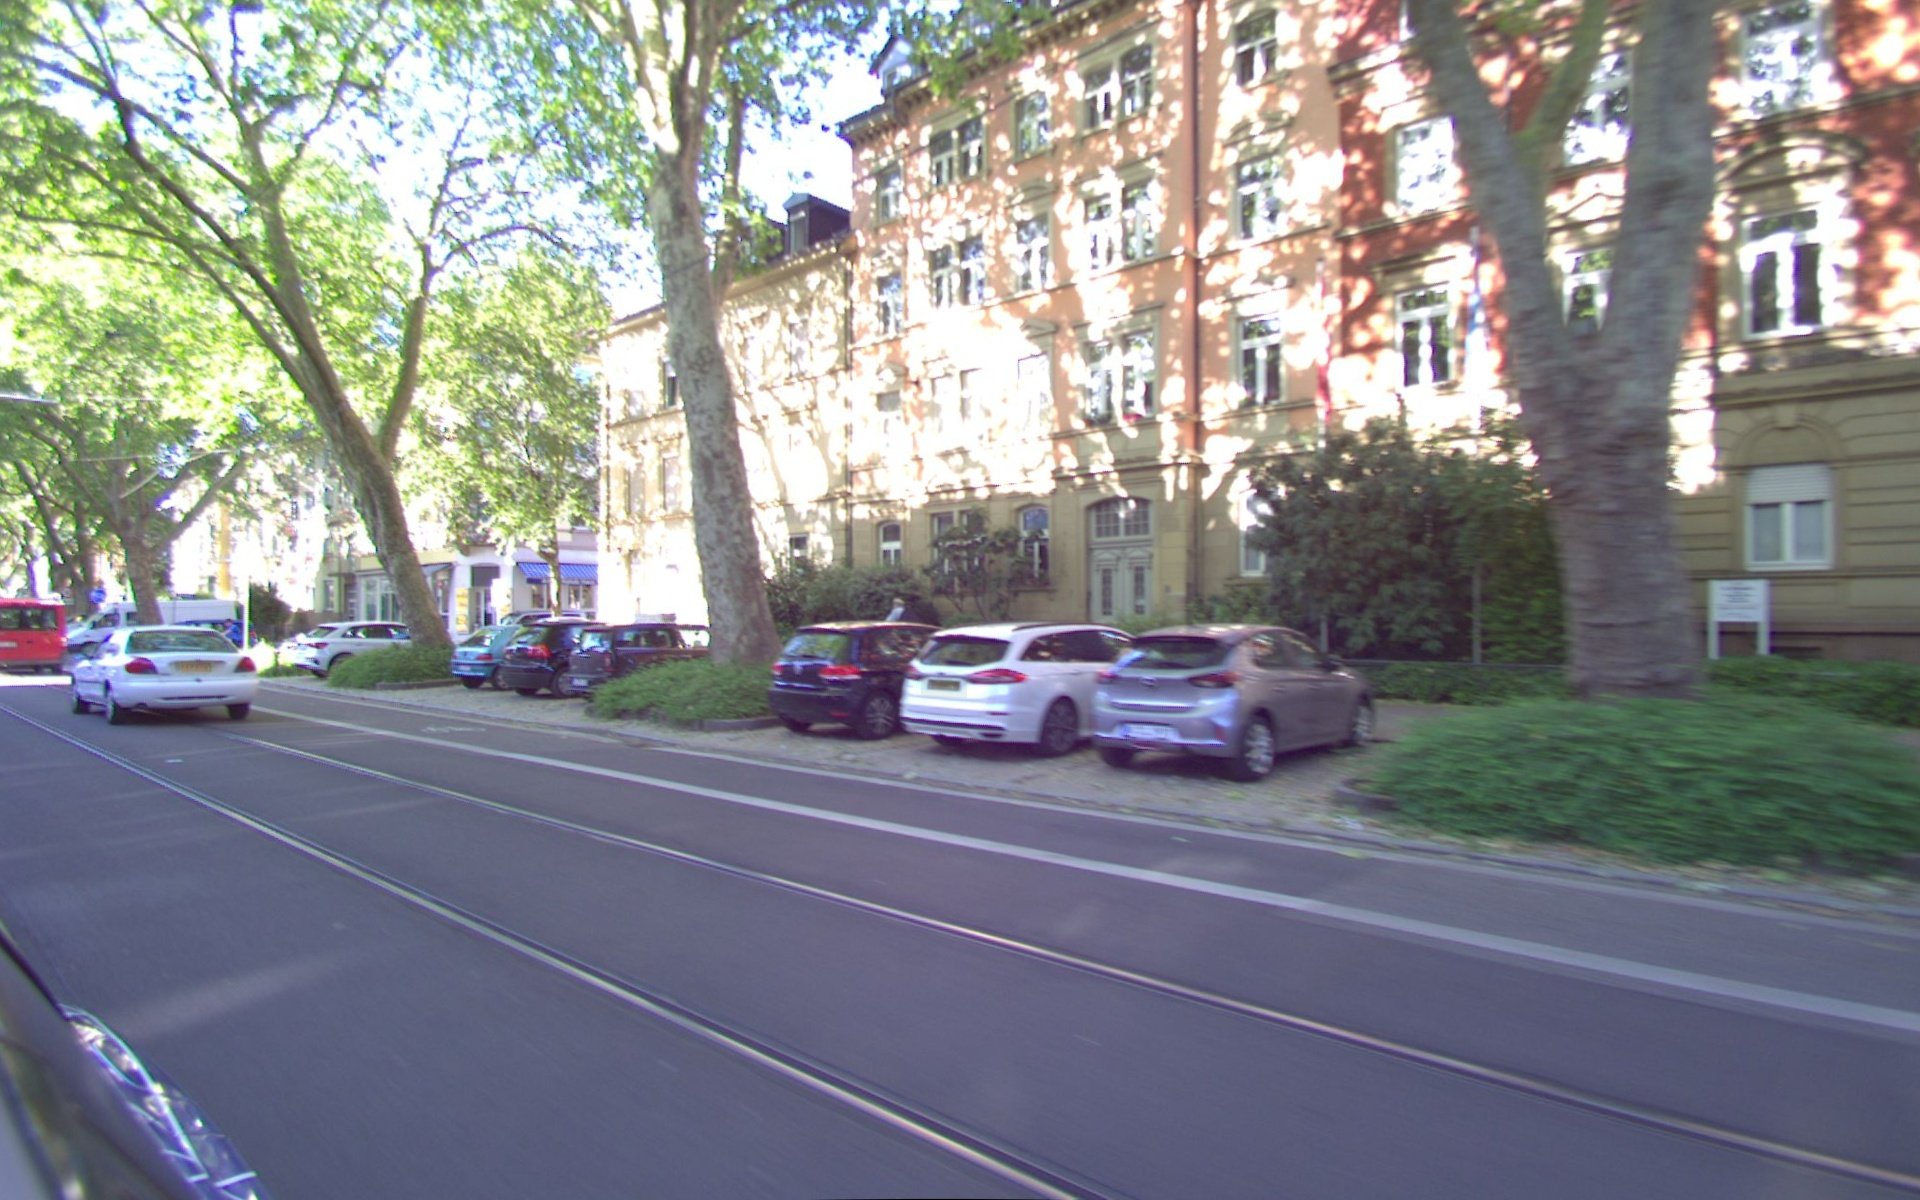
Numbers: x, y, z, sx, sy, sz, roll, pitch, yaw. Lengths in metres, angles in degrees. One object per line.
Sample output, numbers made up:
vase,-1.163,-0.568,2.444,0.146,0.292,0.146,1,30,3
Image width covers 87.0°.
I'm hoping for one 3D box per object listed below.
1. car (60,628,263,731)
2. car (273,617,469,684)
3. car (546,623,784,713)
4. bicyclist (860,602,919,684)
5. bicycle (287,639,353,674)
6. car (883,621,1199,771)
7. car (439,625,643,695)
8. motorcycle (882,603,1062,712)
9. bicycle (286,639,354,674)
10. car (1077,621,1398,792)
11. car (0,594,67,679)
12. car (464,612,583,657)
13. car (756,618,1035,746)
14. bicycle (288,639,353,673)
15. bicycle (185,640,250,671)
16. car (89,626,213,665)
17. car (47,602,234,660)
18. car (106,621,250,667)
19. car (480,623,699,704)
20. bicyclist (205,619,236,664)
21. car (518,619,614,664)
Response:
car,-12.523,1.128,15.763,4.468,1.369,1.700,-1,-2,41
car,-15.094,1.233,26.080,1.878,1.471,3.946,-1,0,40
car,-5.377,1.168,18.793,1.704,1.471,3.943,-1,-2,43
bicyclist,-1.568,0.952,22.572,1.048,1.776,0.822,-1,-2,41
bicycle,-21.274,1.867,33.684,1.830,1.096,0.397,1,-2,-31
car,1.117,1.016,12.313,1.830,1.507,3.945,-1,-2,42
car,-9.201,1.262,22.495,1.602,1.379,3.952,-1,-2,35
motorcycle,0.142,0.887,16.754,3.010,1.643,1.041,-1,1,41
bicycle,-20.829,1.835,32.977,1.830,1.096,0.397,1,-2,-31
car,3.048,0.959,10.653,1.704,1.443,3.767,-2,-2,43
car,-26.996,1.009,28.557,4.955,2.244,1.898,-1,-3,39
car,-19.894,1.525,46.214,4.518,1.894,2.131,1,1,-44
car,-0.782,1.020,14.071,1.704,1.471,3.753,-1,-1,42
bicycle,-21.494,1.875,34.071,1.830,1.096,0.397,1,-2,-31
bicycle,-26.282,1.943,35.856,1.846,1.039,0.630,1,-2,-37
car,-33.656,1.874,42.157,1.745,1.529,3.733,-1,-2,38
car,-38.078,1.382,47.222,1.999,2.426,6.533,-2,0,41
car,-31.445,1.735,40.787,1.814,1.725,4.278,-1,-2,38
car,-7.408,1.208,20.575,1.764,1.471,3.956,-1,-2,32
bicyclist,-26.236,1.463,35.900,0.855,1.538,0.738,1,-2,-37
car,-13.717,1.406,35.178,3.485,1.471,1.583,-1,-2,39
